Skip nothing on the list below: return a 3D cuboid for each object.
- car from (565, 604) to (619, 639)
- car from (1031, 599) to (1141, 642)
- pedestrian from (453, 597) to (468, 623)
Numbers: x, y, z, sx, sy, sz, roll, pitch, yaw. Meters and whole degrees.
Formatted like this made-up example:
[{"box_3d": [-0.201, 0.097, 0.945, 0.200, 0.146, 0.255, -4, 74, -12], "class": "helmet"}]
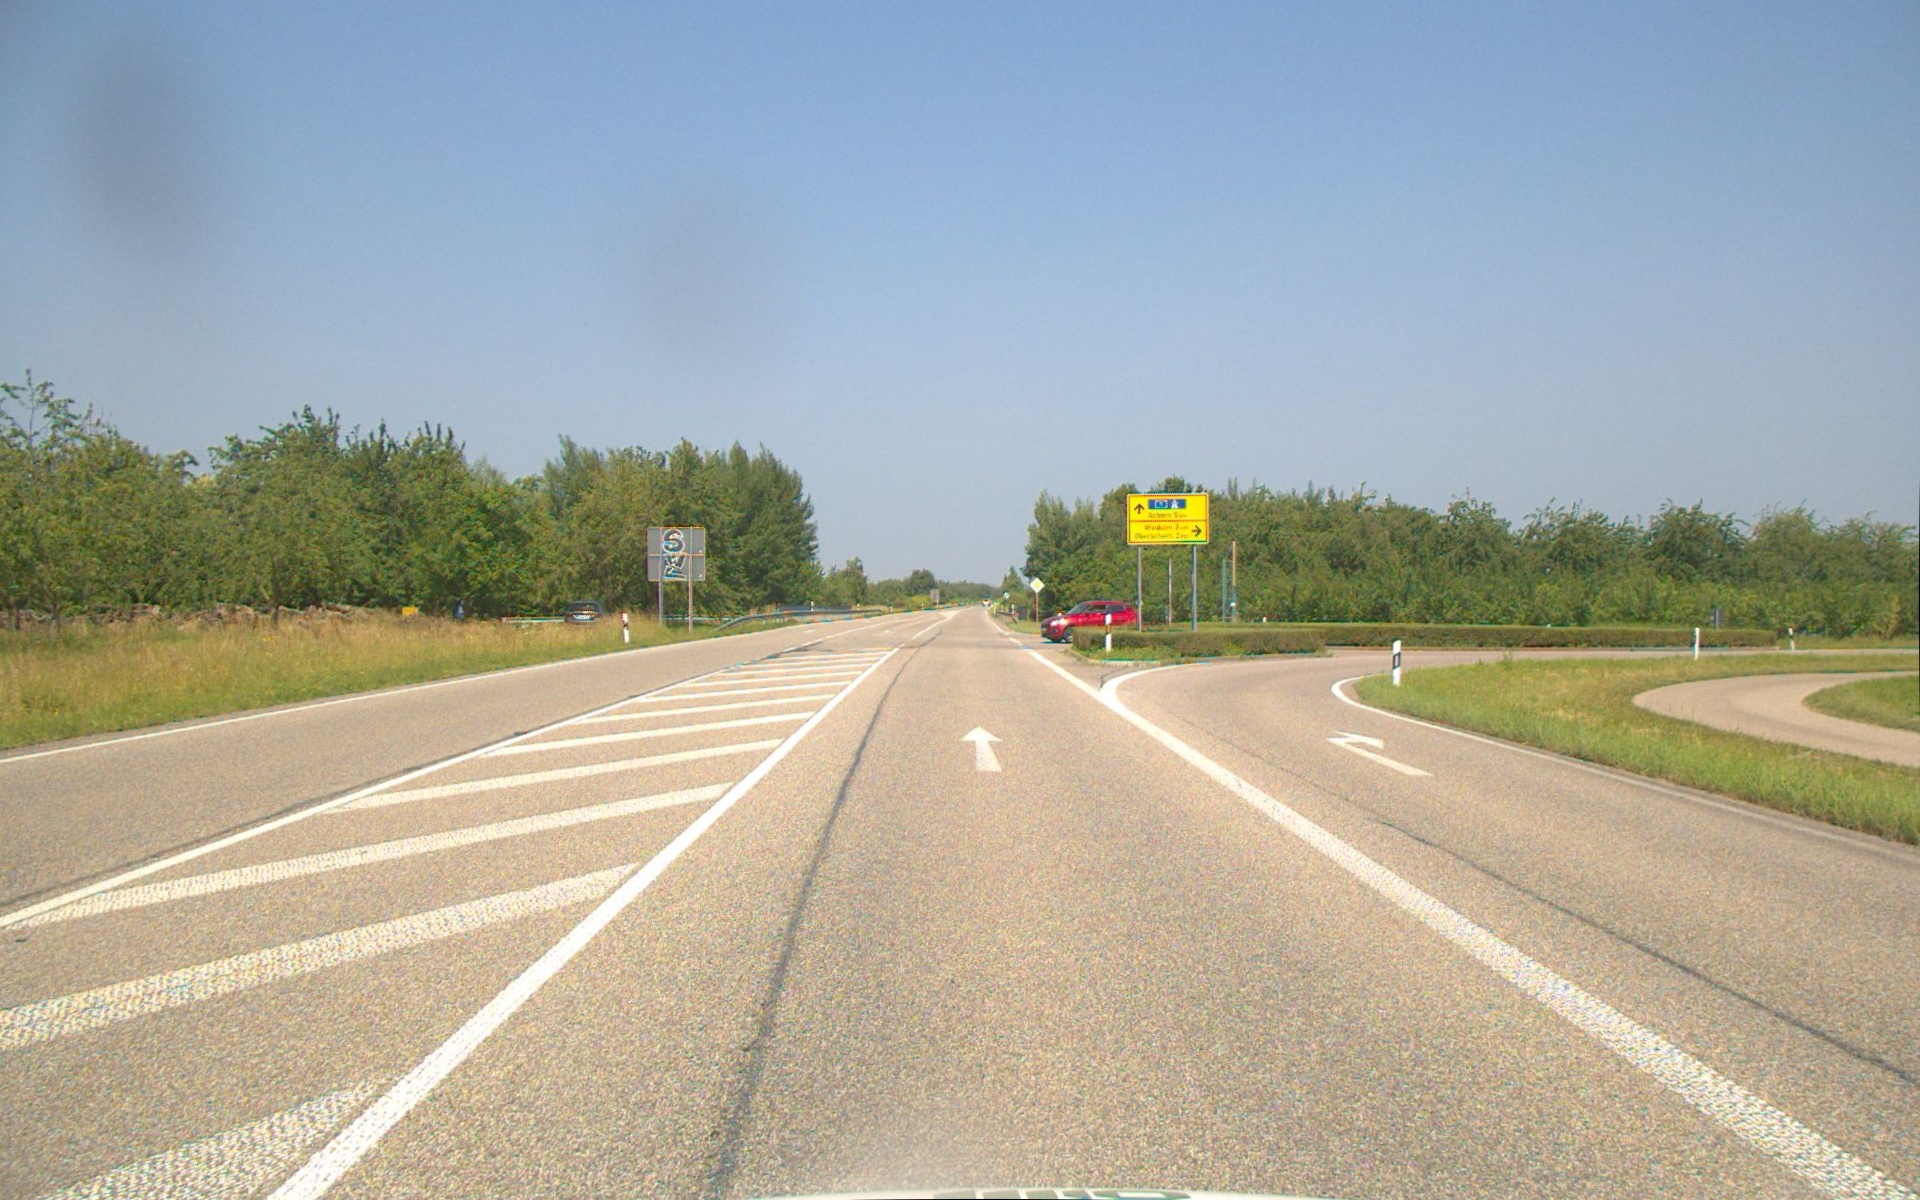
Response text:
[{"box_3d": [-15.638, 0.895, 70.369, 1.671, 1.448, 4.039, 0, 0, -5], "class": "car"}, {"box_3d": [4.626, 0.749, 60.780, 3.681, 1.519, 1.663, 1, 0, -18], "class": "car"}, {"box_3d": [-25.063, 0.498, 83.011, 0.561, 1.320, 0.556, 0, 0, 2], "class": "pedestrian"}]
